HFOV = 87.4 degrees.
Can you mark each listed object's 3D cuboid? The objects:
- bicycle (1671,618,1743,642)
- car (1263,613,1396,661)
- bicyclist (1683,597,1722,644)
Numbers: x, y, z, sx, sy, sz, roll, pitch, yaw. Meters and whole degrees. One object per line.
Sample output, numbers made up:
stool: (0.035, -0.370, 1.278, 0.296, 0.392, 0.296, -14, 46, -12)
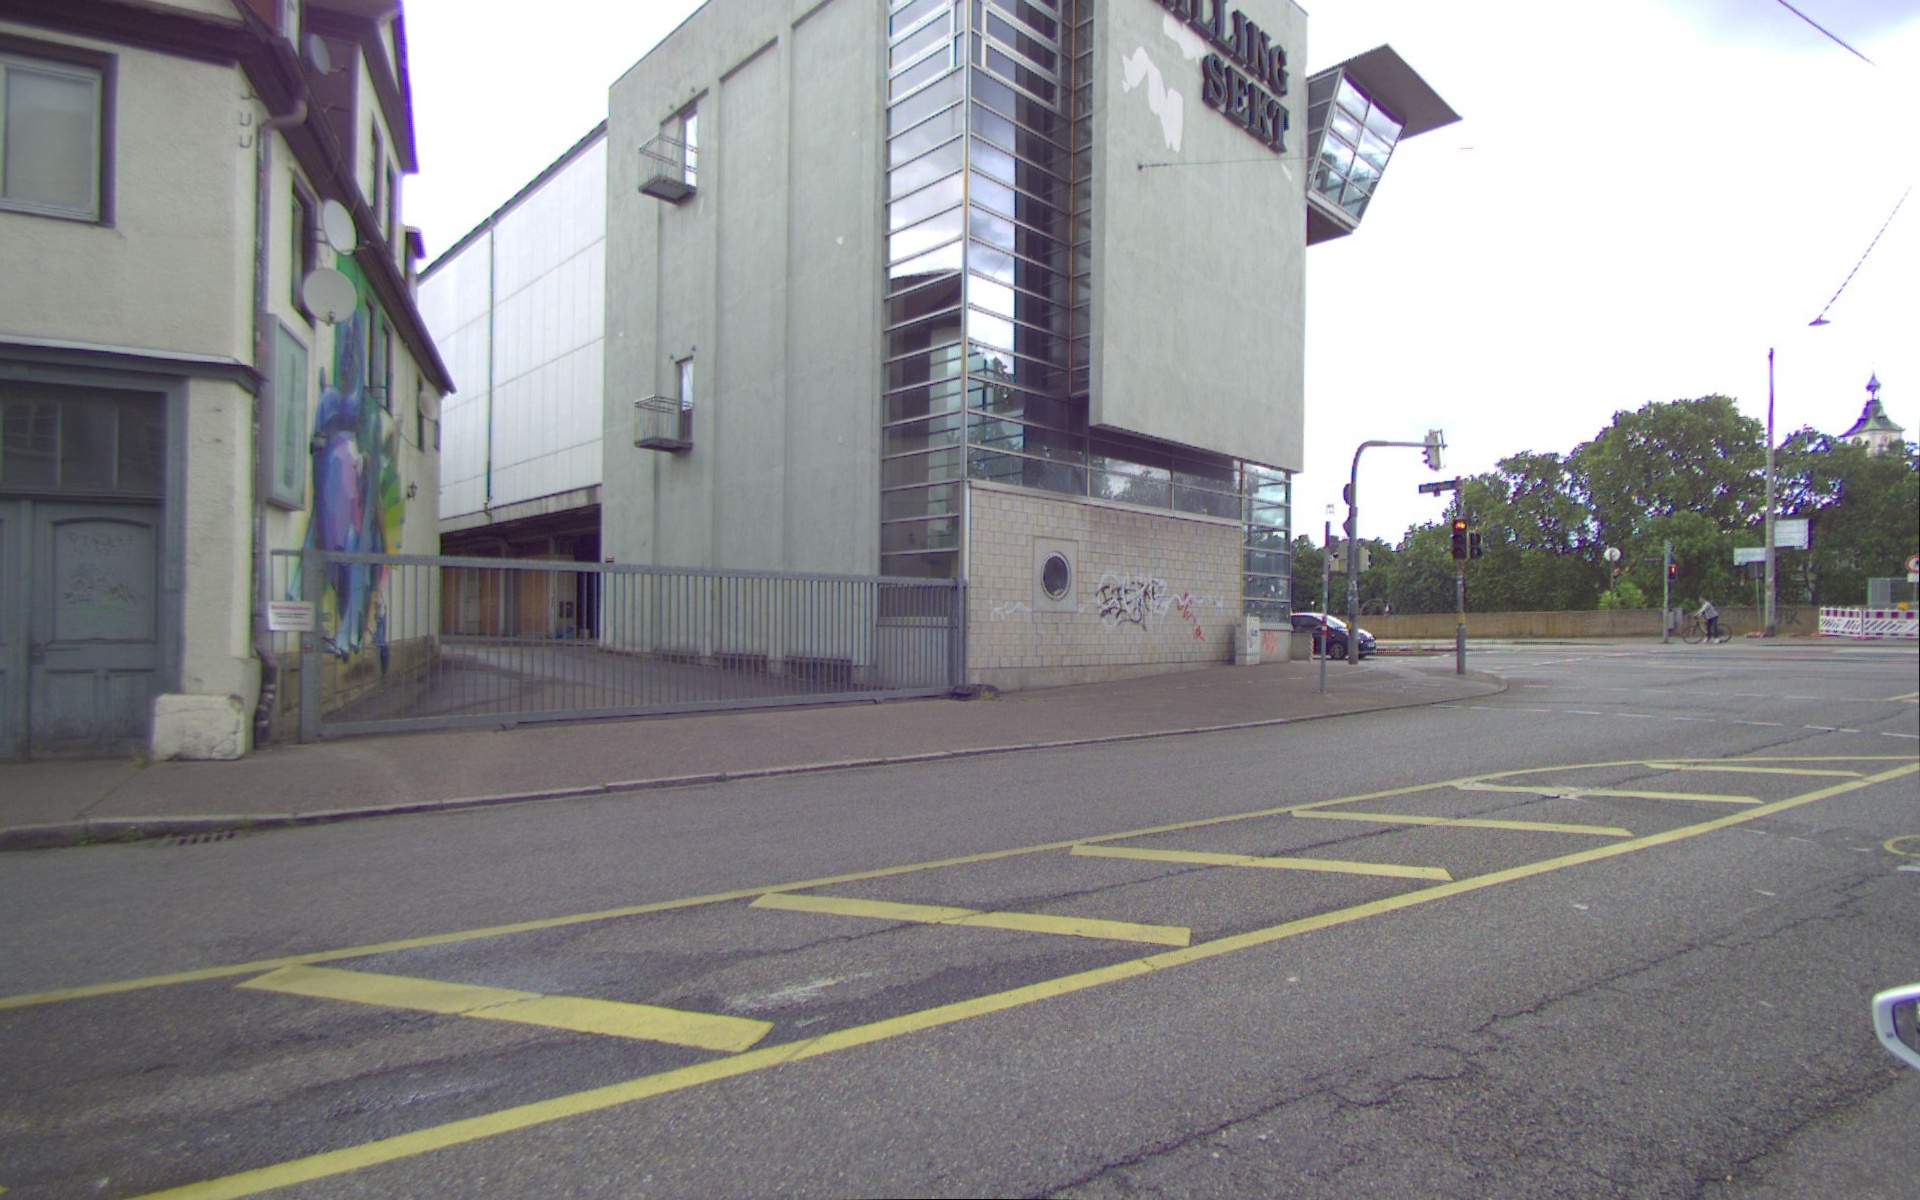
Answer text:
bicycle: (28.763, 1.152, 38.706, 2.095, 0.904, 0.760, -1, 0, 17)
car: (12.105, 1.199, 33.010, 3.699, 1.447, 1.820, -2, -1, 39)
bicyclist: (28.629, 0.783, 38.742, 0.985, 1.767, 0.755, 0, 0, 19)
